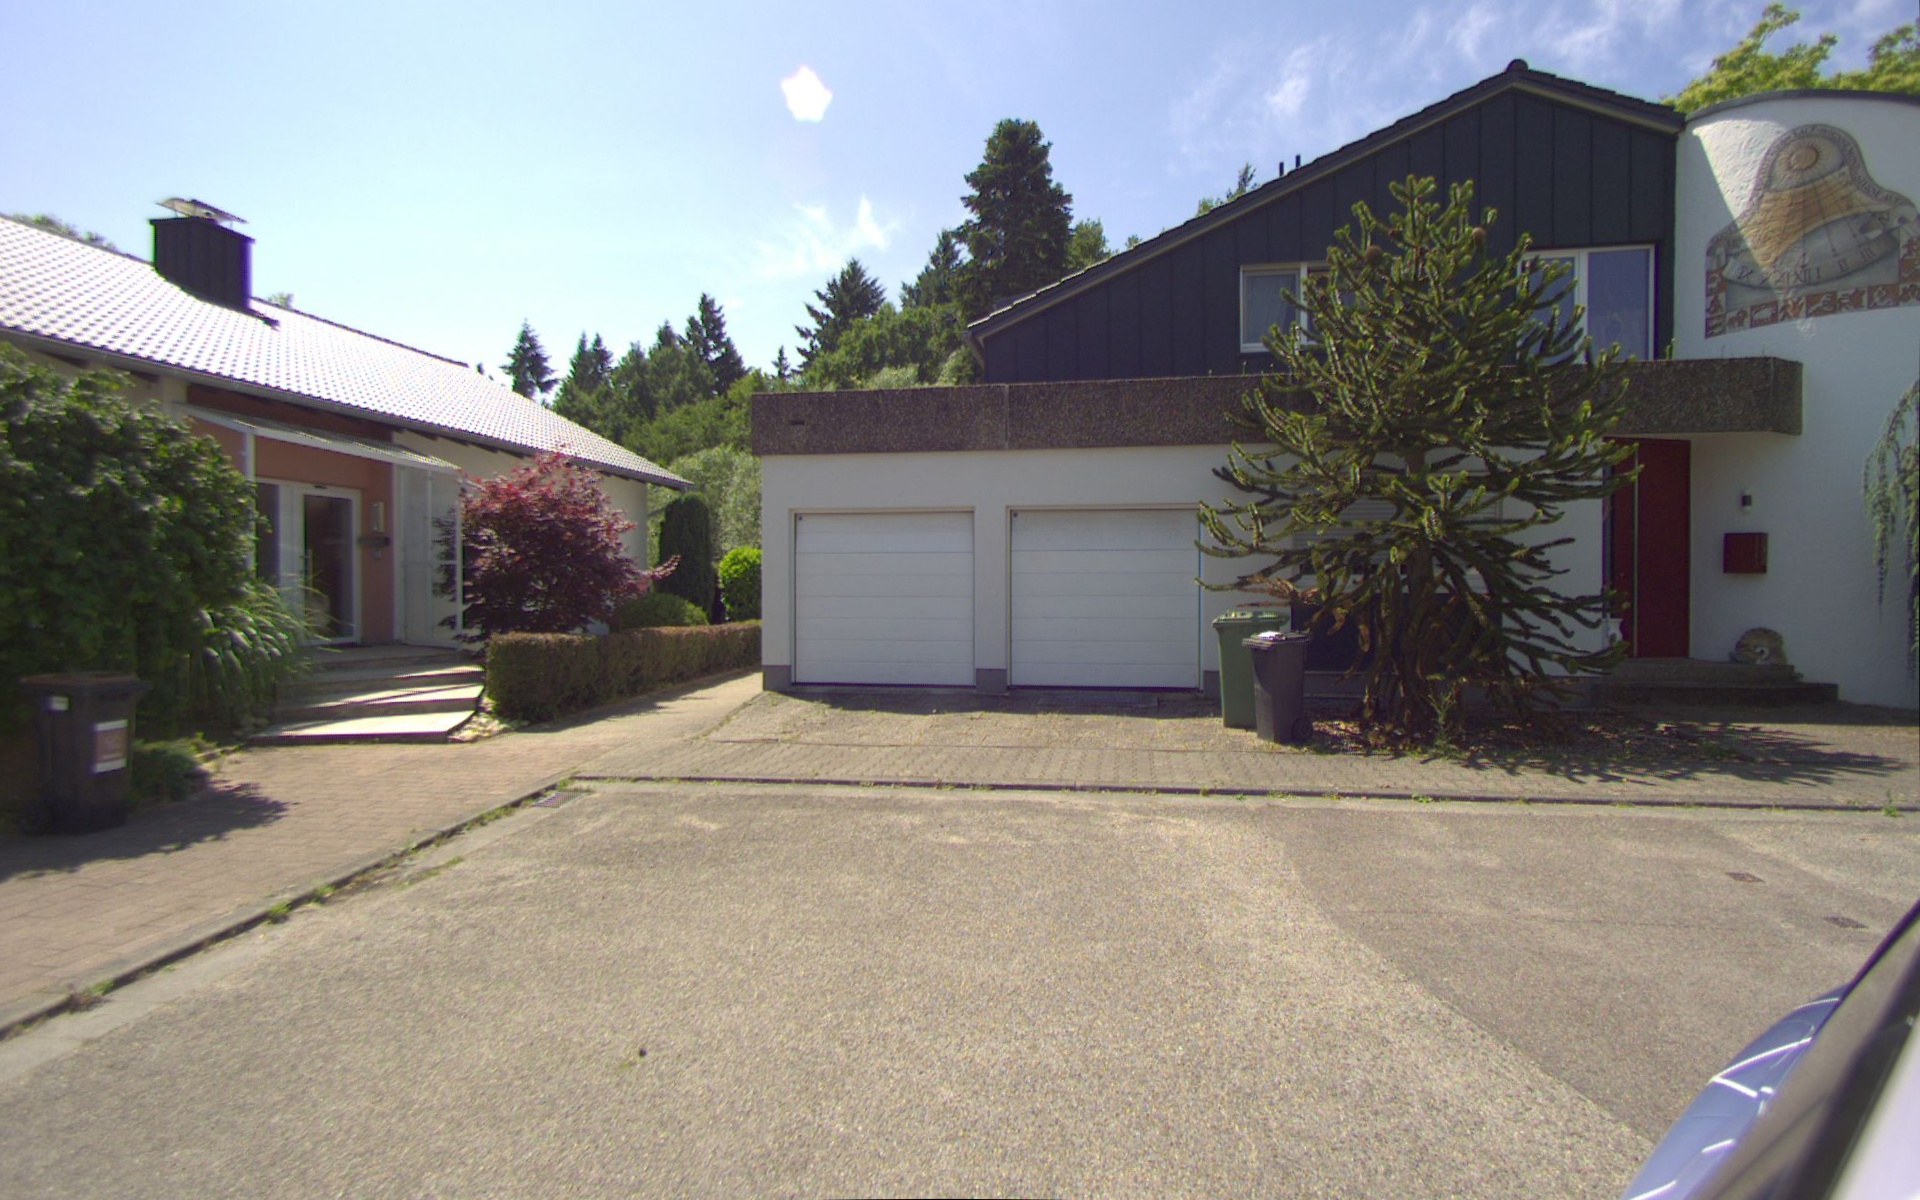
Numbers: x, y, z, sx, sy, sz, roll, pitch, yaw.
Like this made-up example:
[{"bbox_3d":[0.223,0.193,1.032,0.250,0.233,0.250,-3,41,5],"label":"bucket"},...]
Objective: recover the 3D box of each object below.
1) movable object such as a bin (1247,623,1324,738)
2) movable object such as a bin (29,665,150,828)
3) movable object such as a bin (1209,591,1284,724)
[{"bbox_3d":[2.850,0.692,8.881,0.513,0.962,0.390,0,0,-17],"label":"movable object such as a bin"},{"bbox_3d":[-5.168,0.855,6.019,0.384,0.902,0.374,0,1,9],"label":"movable object such as a bin"},{"bbox_3d":[2.710,0.525,9.602,0.623,1.218,0.550,0,0,10],"label":"movable object such as a bin"}]
